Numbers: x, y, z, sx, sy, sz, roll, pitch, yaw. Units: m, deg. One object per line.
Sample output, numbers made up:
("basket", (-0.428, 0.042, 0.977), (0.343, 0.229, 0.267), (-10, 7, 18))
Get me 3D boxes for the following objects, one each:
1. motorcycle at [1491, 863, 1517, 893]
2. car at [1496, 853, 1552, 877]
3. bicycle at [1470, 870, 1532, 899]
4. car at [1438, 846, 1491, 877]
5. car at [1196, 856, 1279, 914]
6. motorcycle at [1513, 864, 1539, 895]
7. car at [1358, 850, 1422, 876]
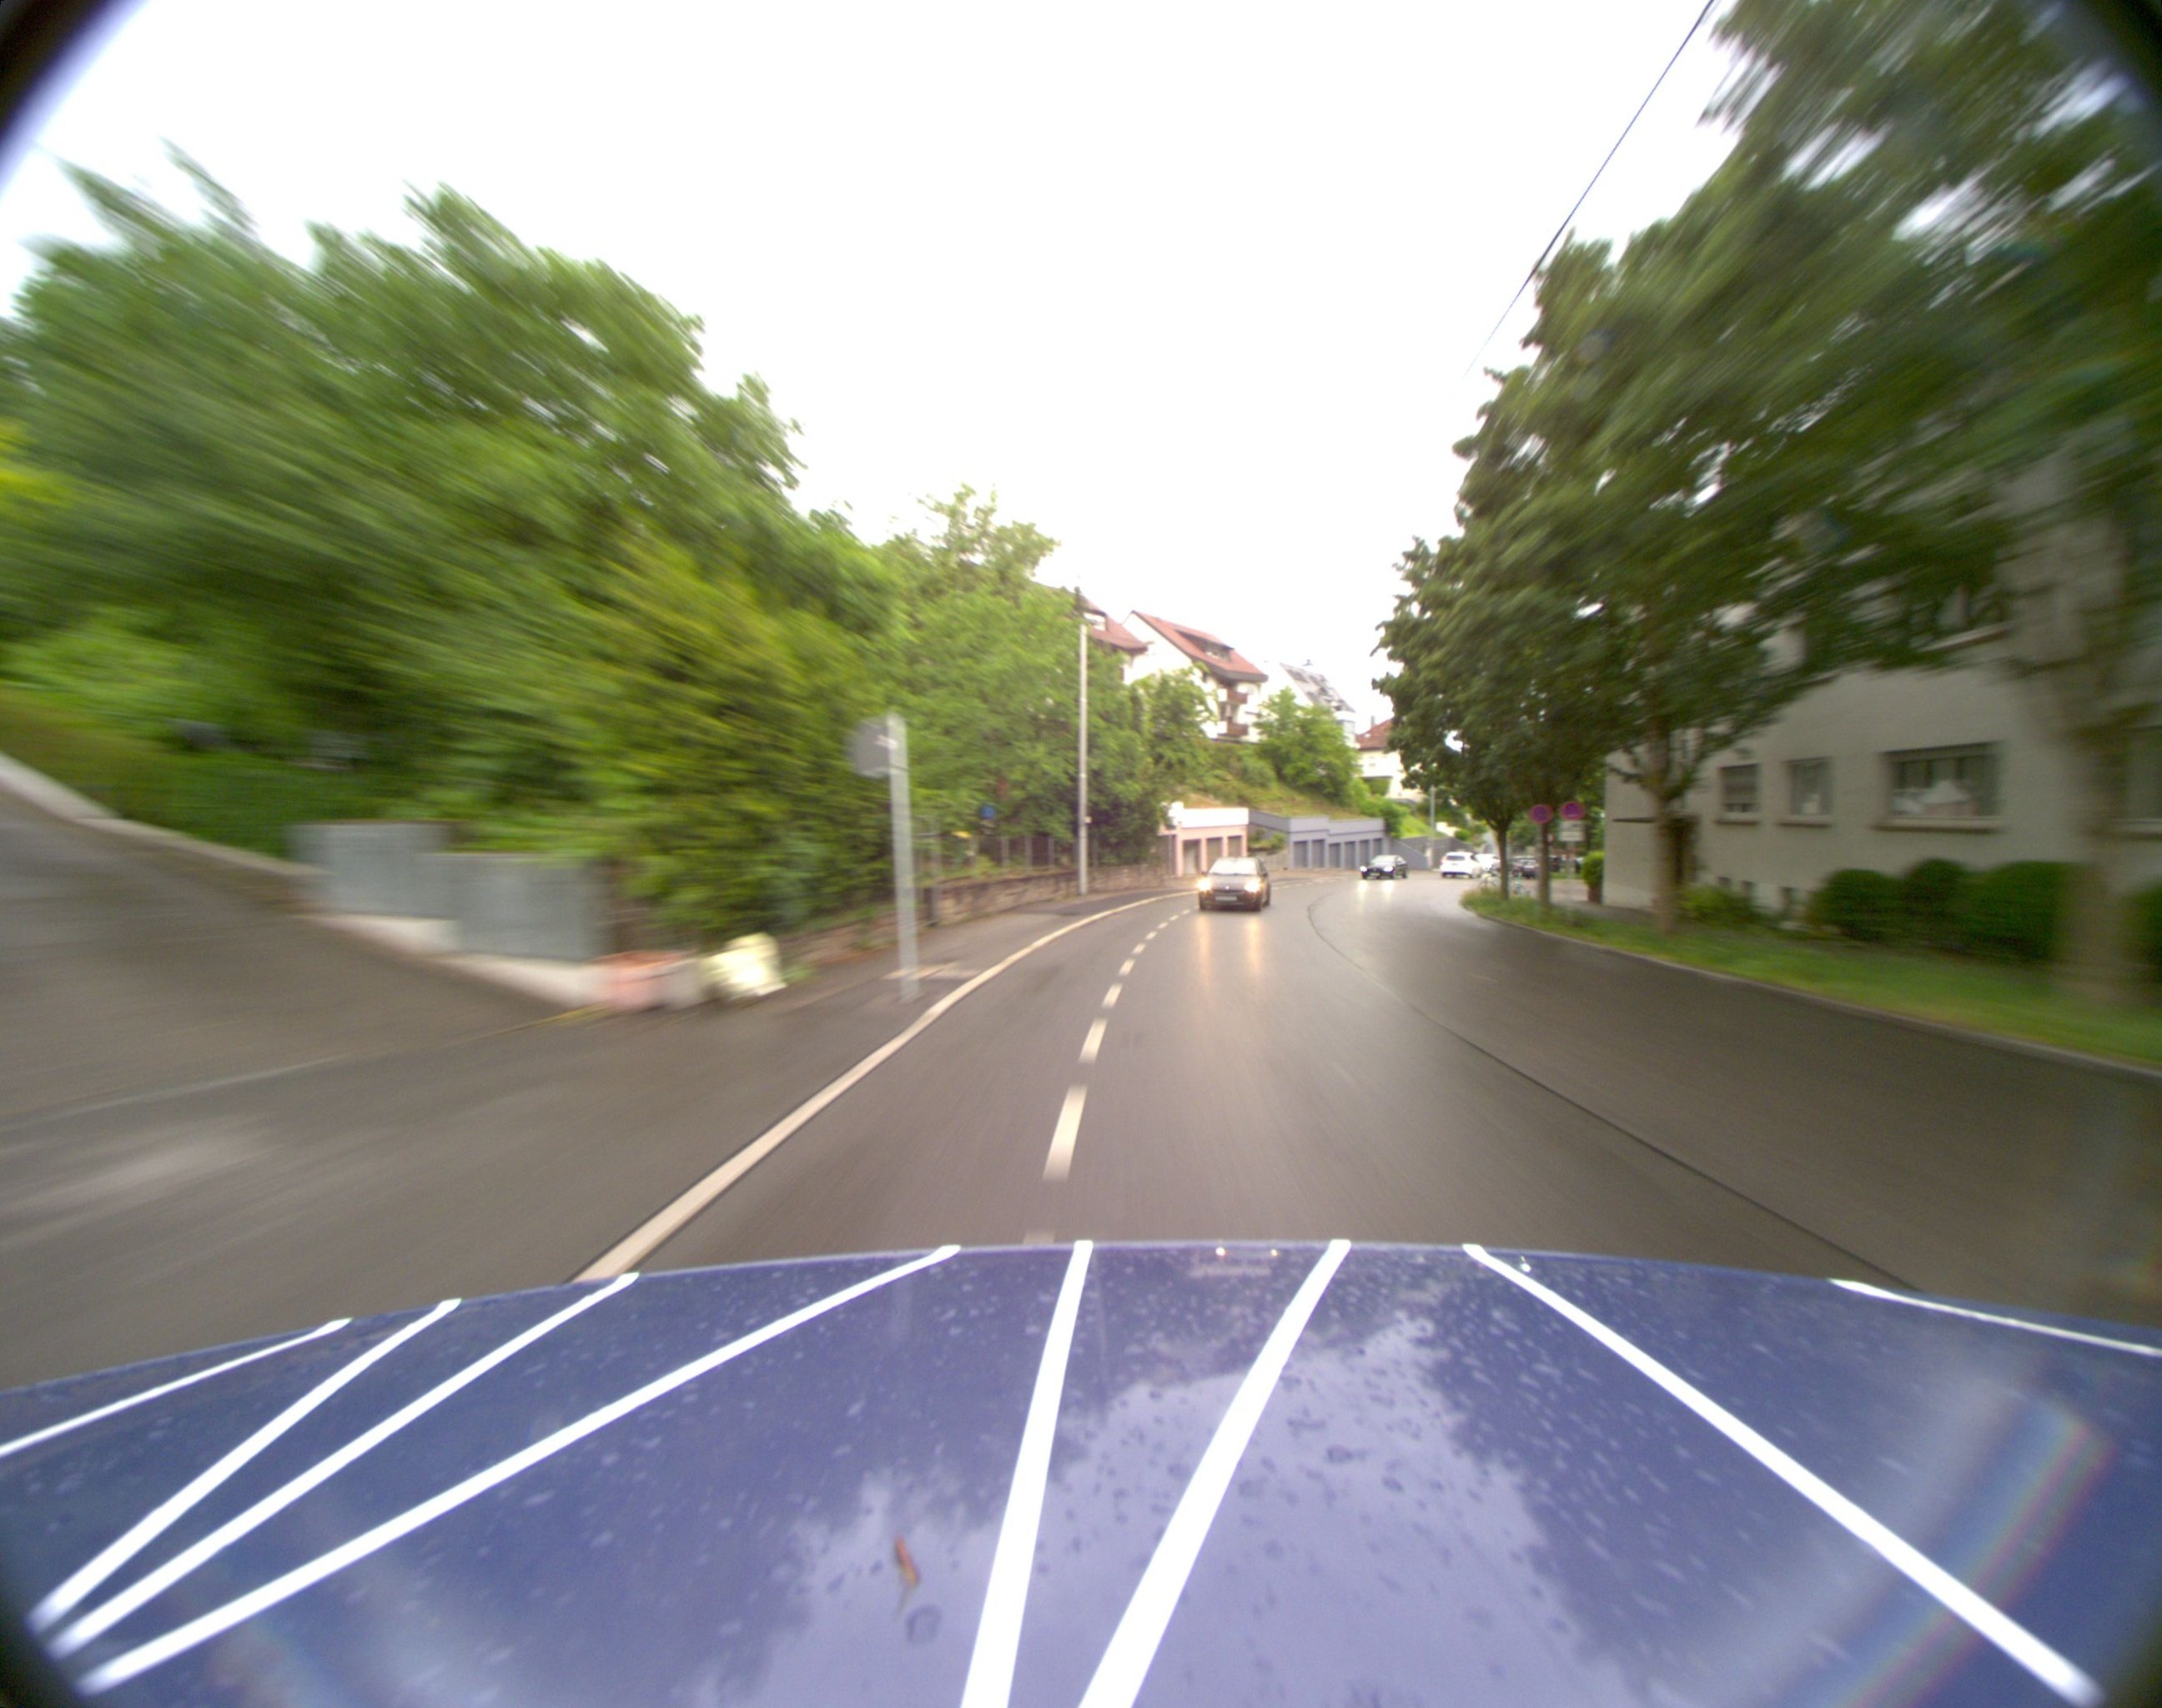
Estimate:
("motorcycle", (17.528, 0.974, 31.480), (1.402, 1.197, 0.557), (0, 1, -44))
("car", (27.393, 0.652, 47.154), (1.996, 1.383, 4.202), (0, 1, 16))
("bicycle", (16.137, 1.155, 29.264), (1.965, 1.054, 0.755), (1, 1, 18))
("car", (24.484, 0.491, 48.404), (1.984, 1.778, 4.705), (3, 1, 38))
("car", (4.549, 0.802, 21.700), (1.695, 1.456, 4.006), (0, 0, 21))
("motorcycle", (18.305, 1.051, 31.242), (1.308, 1.221, 0.552), (0, 1, -44))
("car", (18.483, 0.506, 45.409), (4.219, 1.502, 1.994), (0, 0, -44))
